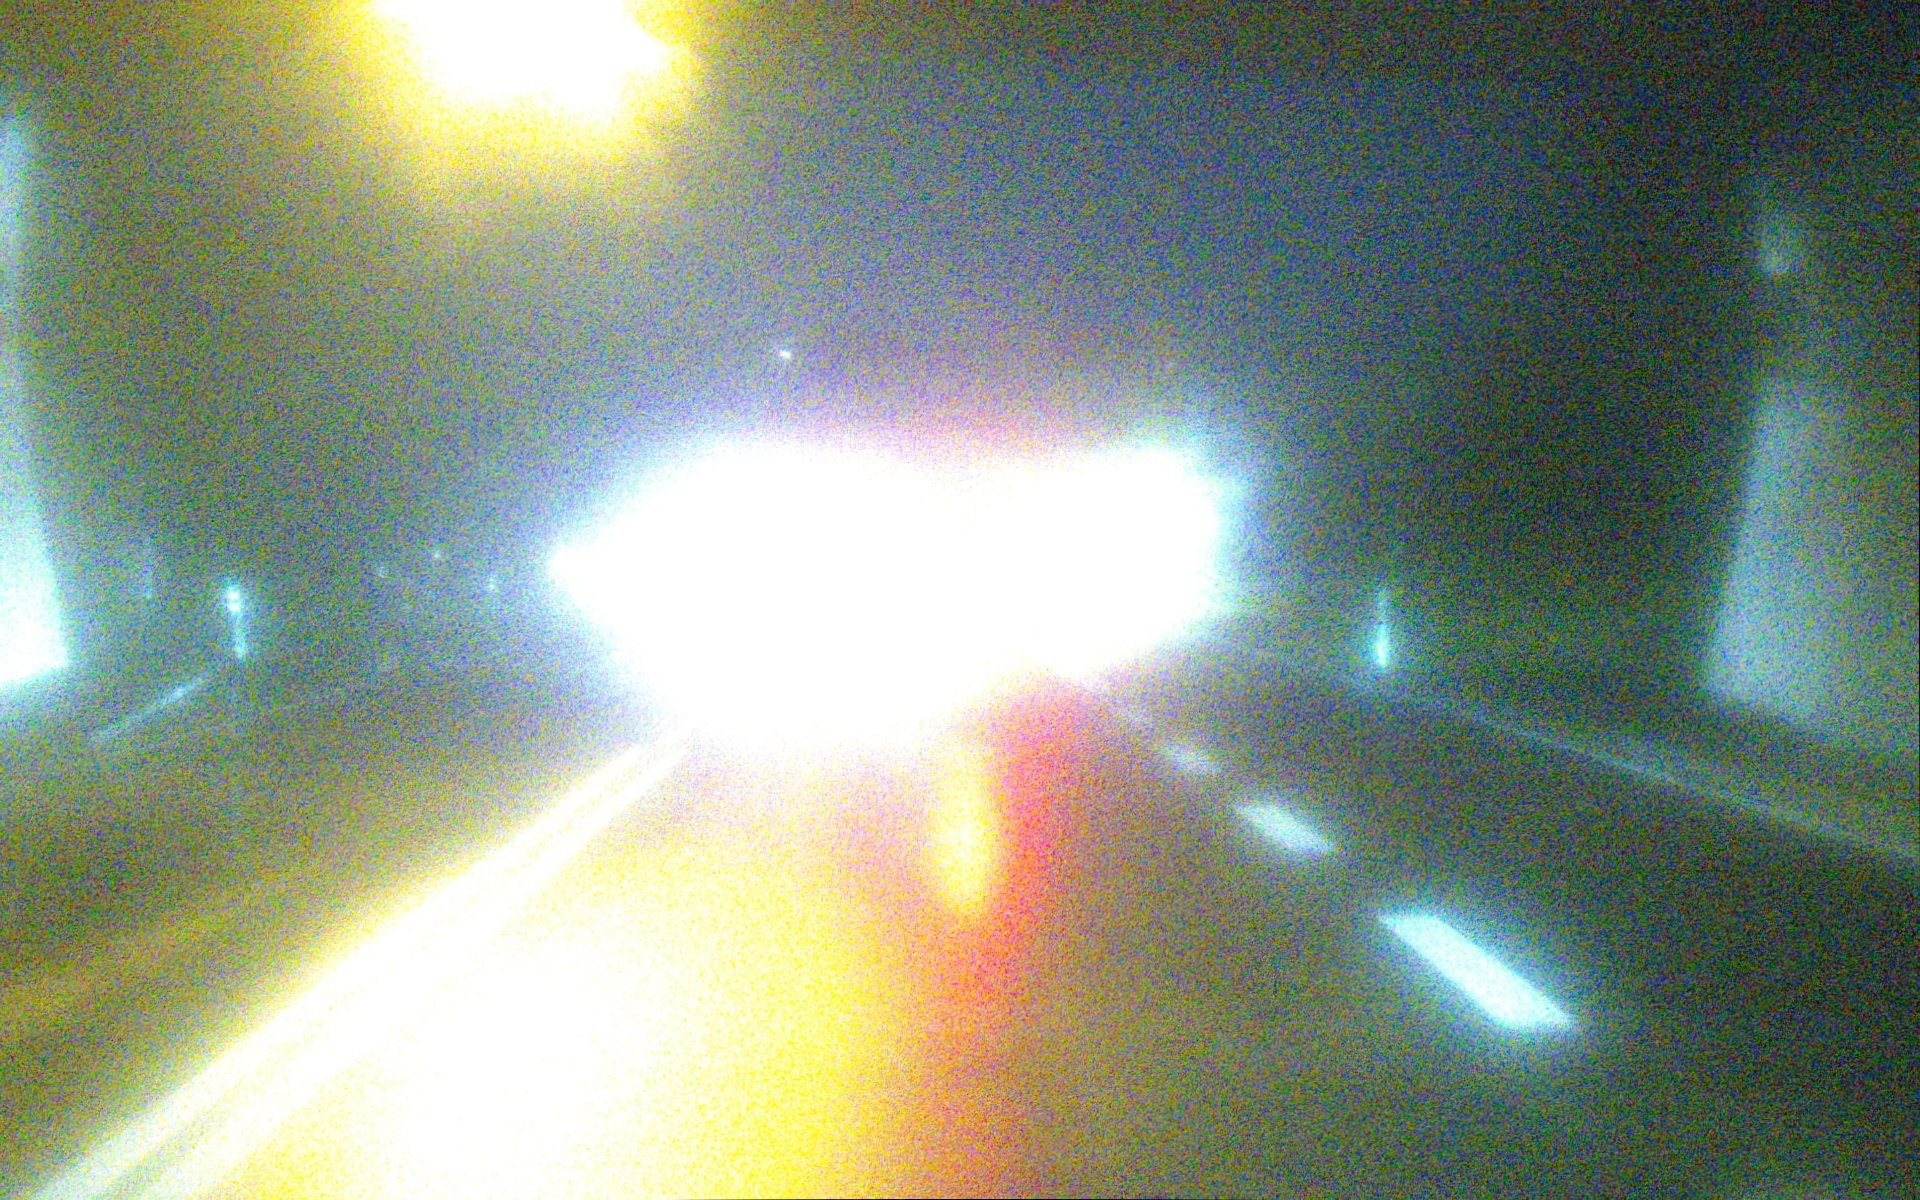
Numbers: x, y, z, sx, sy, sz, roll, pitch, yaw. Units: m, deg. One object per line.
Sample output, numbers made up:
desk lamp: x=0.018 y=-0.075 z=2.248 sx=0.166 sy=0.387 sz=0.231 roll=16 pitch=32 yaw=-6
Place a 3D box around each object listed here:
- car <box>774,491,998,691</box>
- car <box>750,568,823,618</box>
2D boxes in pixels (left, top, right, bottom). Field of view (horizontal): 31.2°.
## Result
car: x=-0.629 y=-0.091 z=29.926 sx=1.808 sy=1.616 sz=4.000 roll=0 pitch=1 yaw=-1
car: x=-5.270 y=-0.221 z=104.697 sx=1.993 sy=1.468 sz=4.276 roll=1 pitch=1 yaw=0
